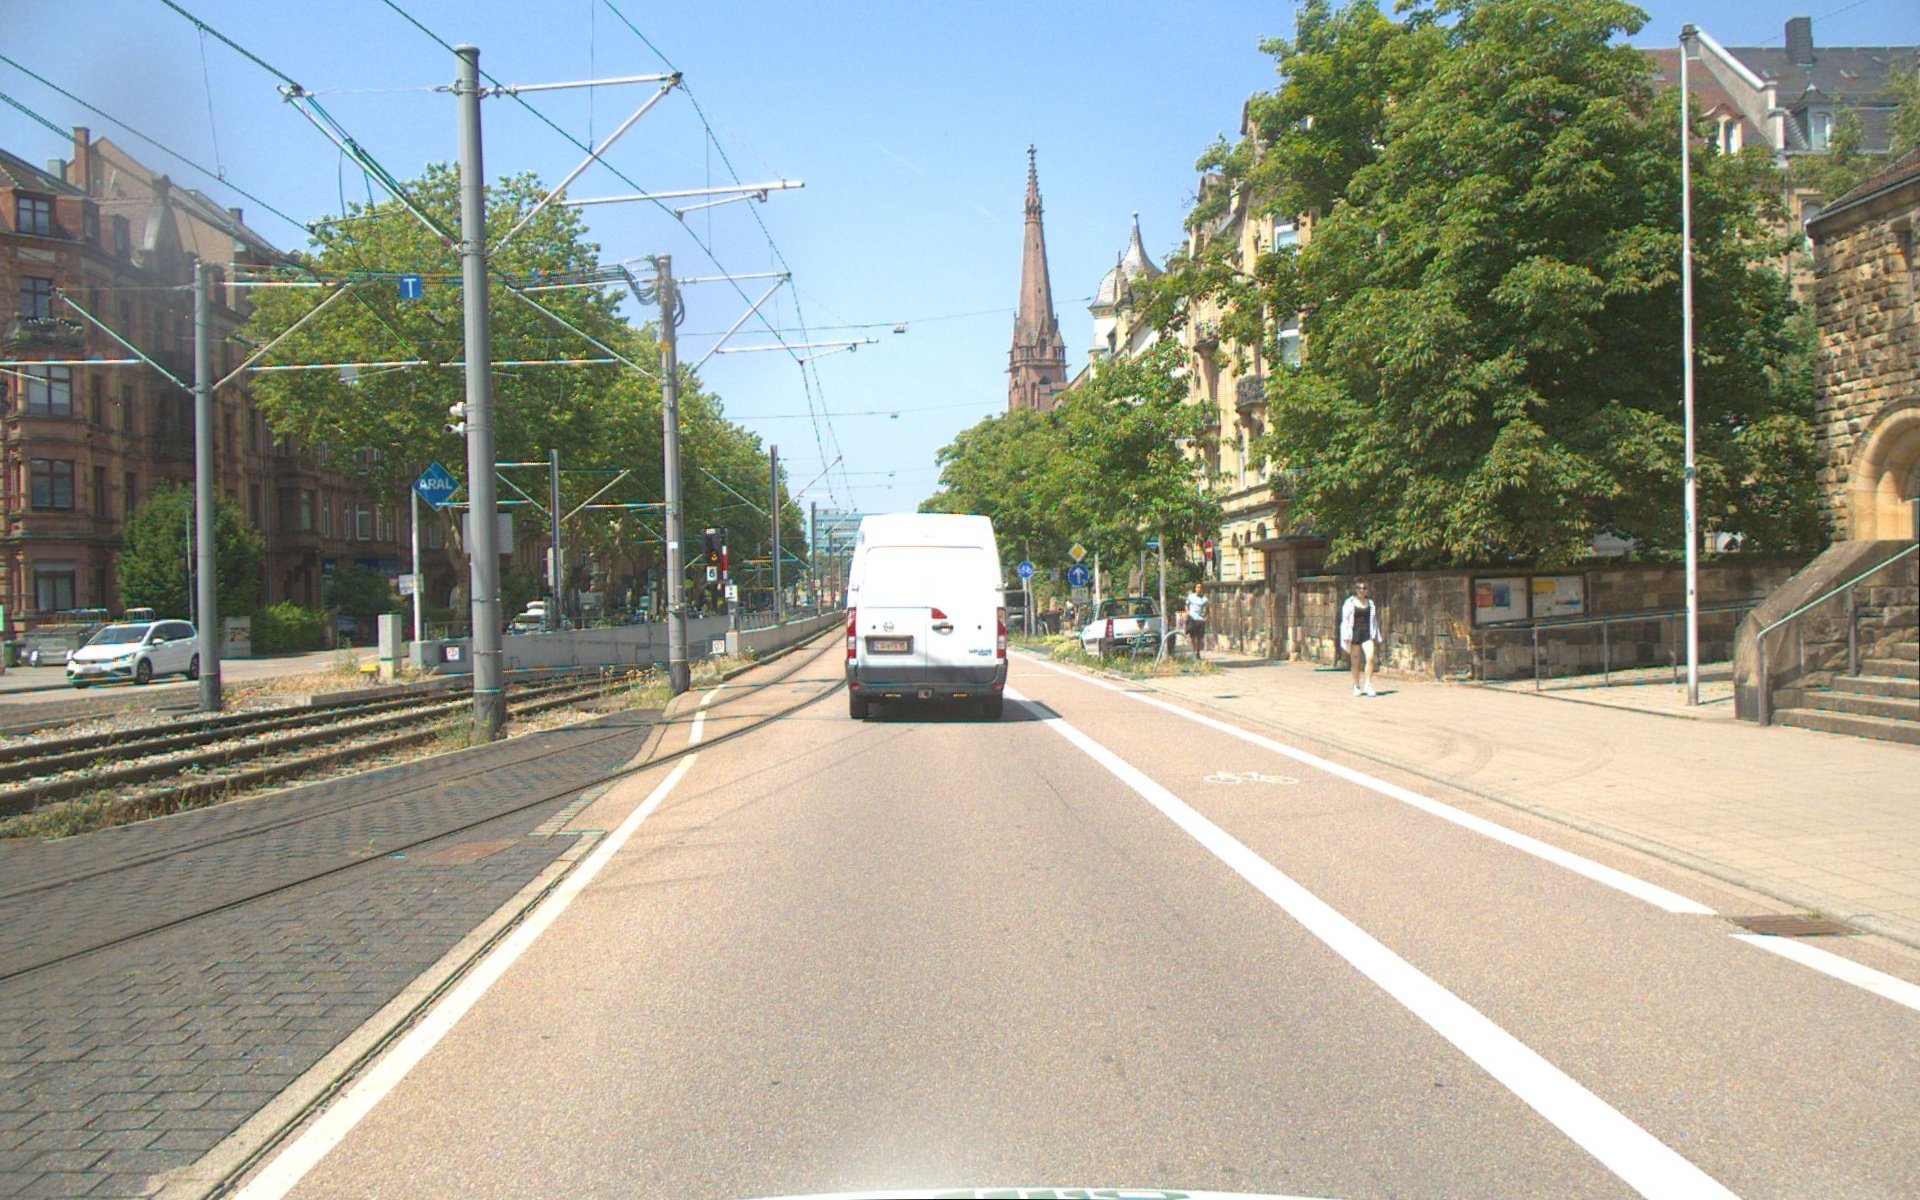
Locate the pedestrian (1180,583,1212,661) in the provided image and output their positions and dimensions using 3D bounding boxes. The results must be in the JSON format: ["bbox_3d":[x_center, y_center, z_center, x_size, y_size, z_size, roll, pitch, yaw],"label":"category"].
[{"bbox_3d":[5.456,0.515,38.306,0.608,1.785,0.678,-1,-1,-1],"label":"pedestrian"}]

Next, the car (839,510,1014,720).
[{"bbox_3d":[-0.544,0.189,22.427,2.075,2.502,5.050,-1,0,-3],"label":"car"}]

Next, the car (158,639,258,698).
[{"bbox_3d":[-23.569,2.118,51.963,1.621,1.714,3.704,-1,0,-3],"label":"car"}]

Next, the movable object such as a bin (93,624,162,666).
[{"bbox_3d":[-29.972,1.612,59.586,1.747,1.409,1.468,-1,0,-5],"label":"movable object such as a bin"}]

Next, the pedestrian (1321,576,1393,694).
[{"bbox_3d":[5.762,0.500,24.057,0.777,1.679,0.966,-1,-1,-1],"label":"pedestrian"}]

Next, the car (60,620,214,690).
[{"bbox_3d":[-21.710,1.404,43.851,1.810,1.653,4.600,-3,0,-2],"label":"car"}]

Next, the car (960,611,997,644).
[{"bbox_3d":[0.925,1.383,83.718,1.634,1.557,4.011,-1,0,-2],"label":"car"}]

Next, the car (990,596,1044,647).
[{"bbox_3d":[2.362,0.875,69.171,1.841,1.981,4.834,-1,0,-2],"label":"car"}]

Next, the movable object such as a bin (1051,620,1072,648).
[{"bbox_3d":[3.831,1.267,62.468,0.771,1.031,0.650,-1,-1,3],"label":"movable object such as a bin"}]

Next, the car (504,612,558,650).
[{"bbox_3d":[-22.550,1.608,87.155,1.954,1.938,4.713,-1,0,-5],"label":"car"}]

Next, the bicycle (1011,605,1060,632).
[{"bbox_3d":[2.977,0.735,65.283,1.848,1.009,0.469,-1,-1,-13],"label":"bicycle"}]

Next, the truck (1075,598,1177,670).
[{"bbox_3d":[3.780,0.753,38.408,1.753,1.553,4.463,-1,0,-2],"label":"truck"}]

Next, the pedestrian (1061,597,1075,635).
[{"bbox_3d":[4.697,0.706,71.827,0.540,1.626,0.727,-1,-1,0],"label":"pedestrian"}]

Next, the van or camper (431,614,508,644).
[{"bbox_3d":[-32.195,1.916,108.579,4.448,1.869,1.933,-1,0,3],"label":"van or camper"}]
